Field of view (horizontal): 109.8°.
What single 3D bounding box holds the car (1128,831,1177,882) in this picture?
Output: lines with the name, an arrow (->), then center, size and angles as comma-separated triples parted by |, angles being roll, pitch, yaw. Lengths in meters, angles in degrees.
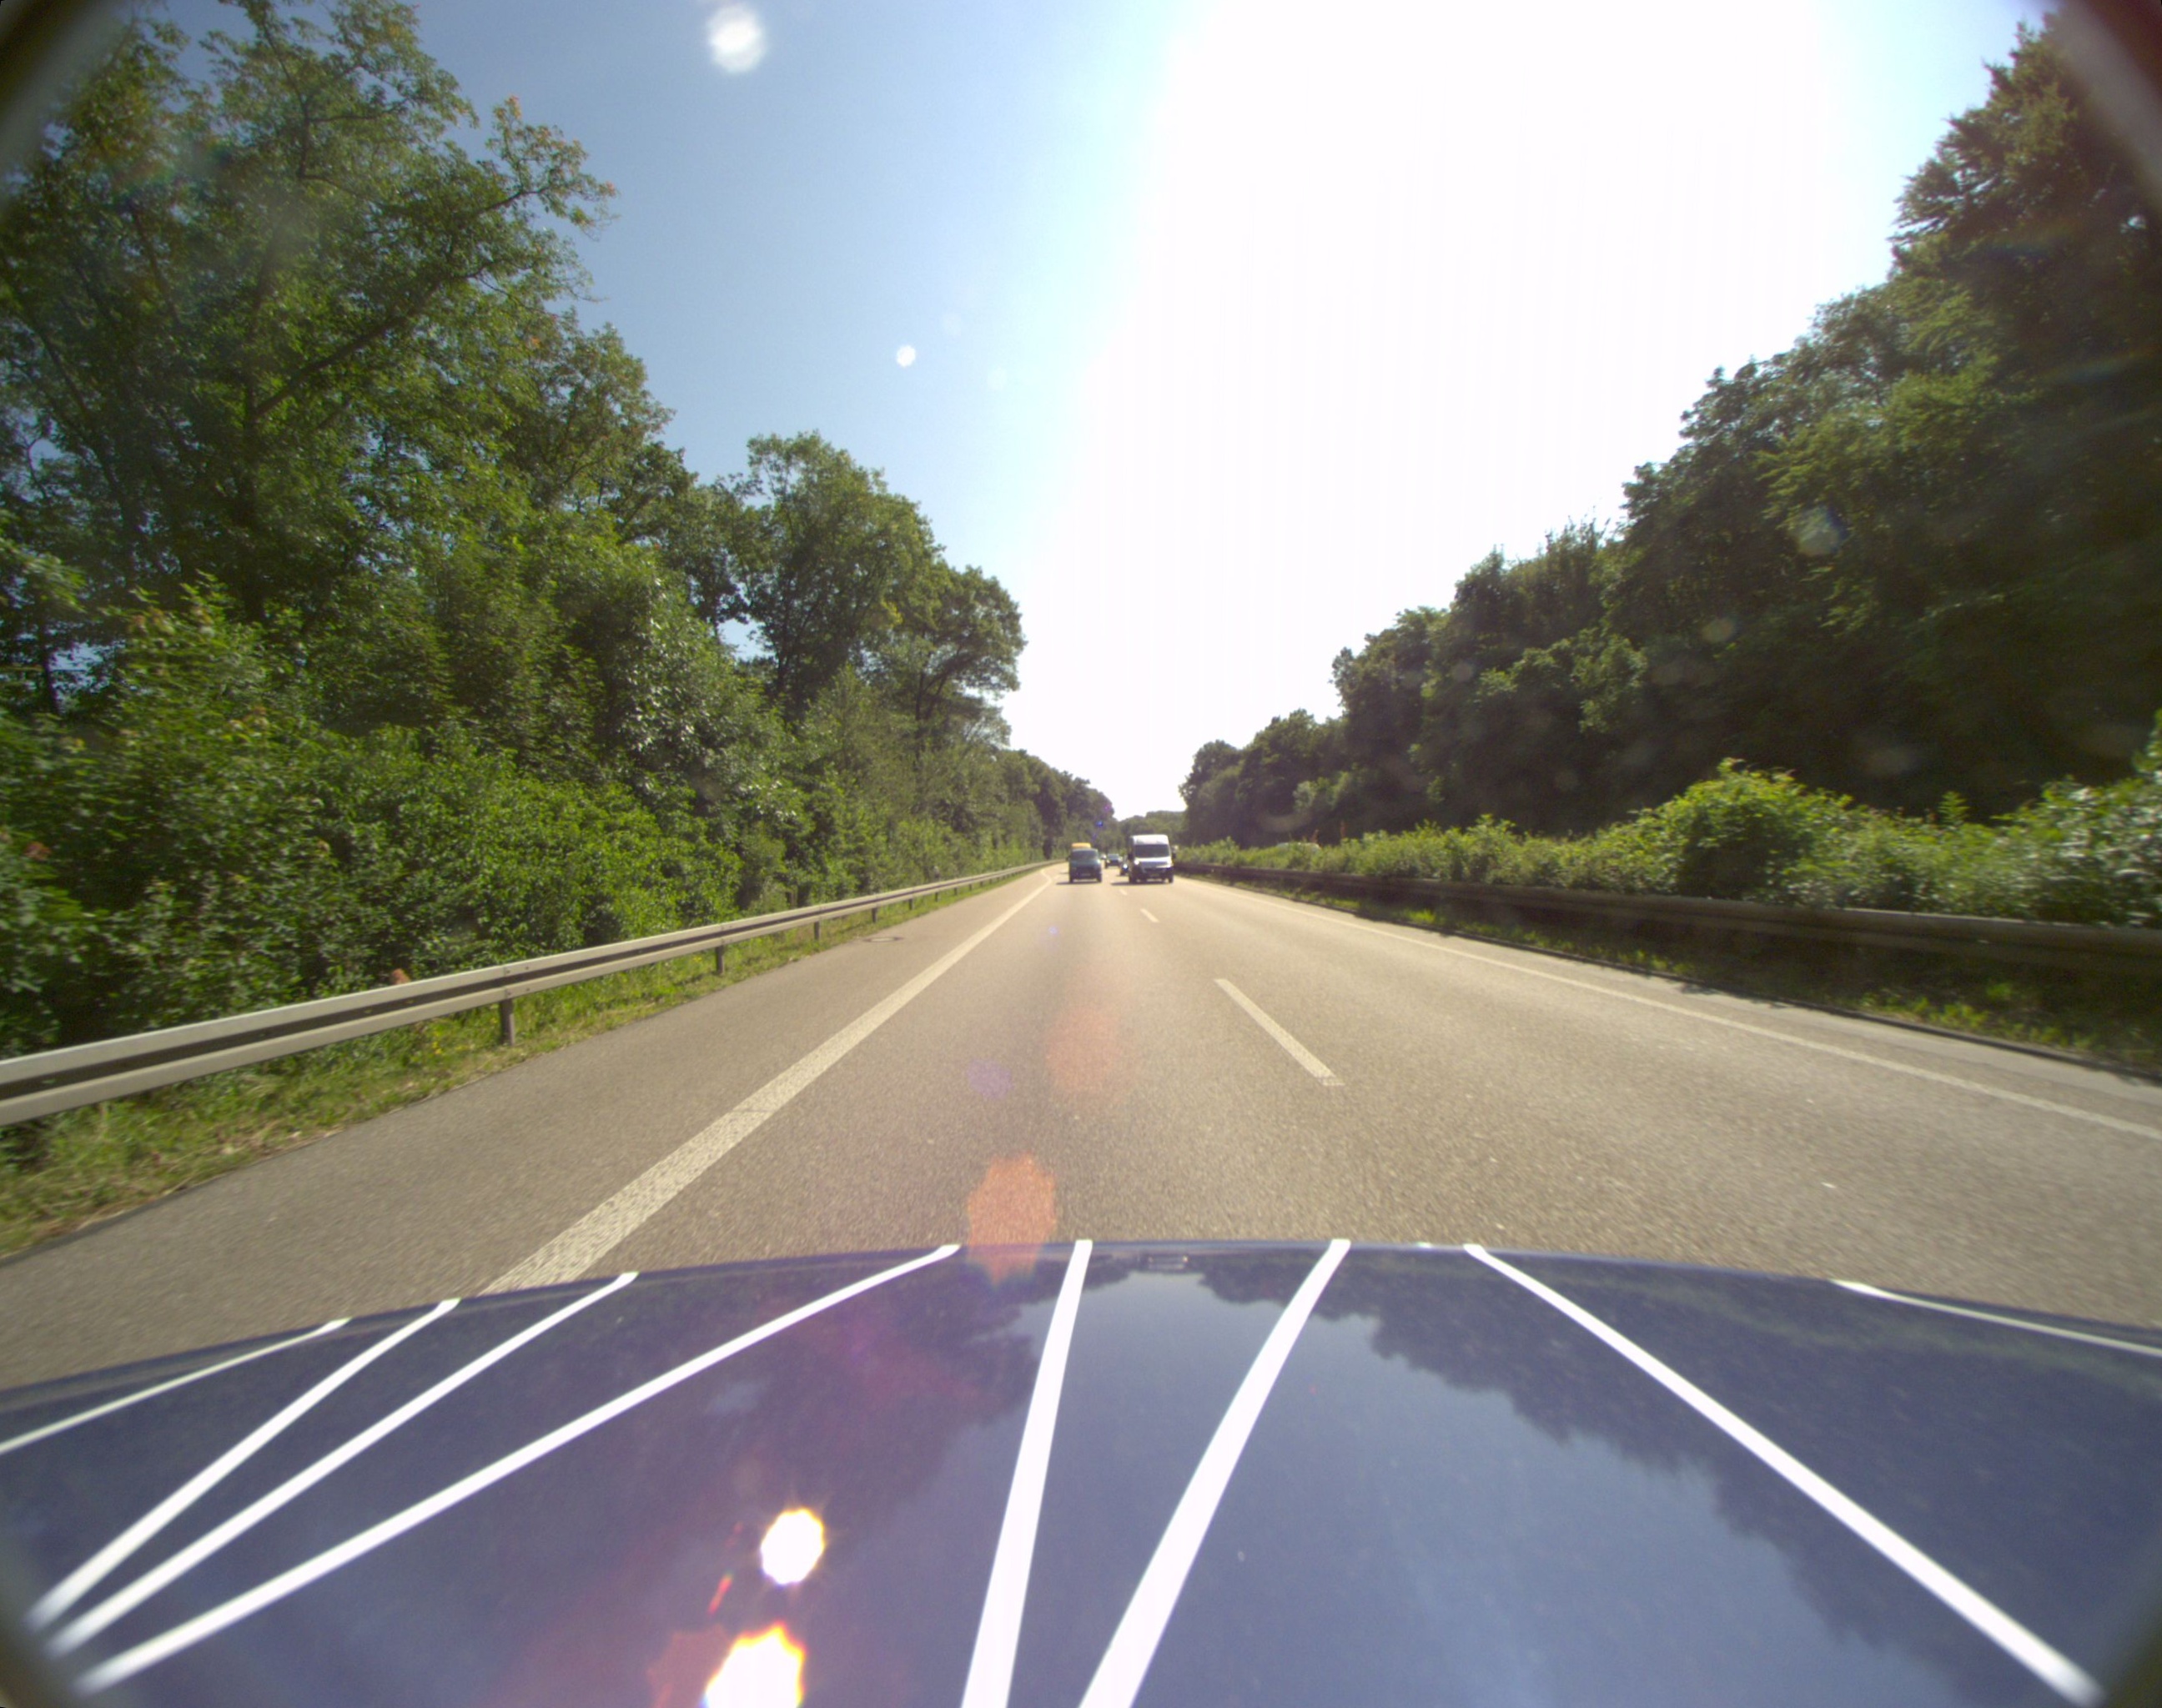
car -> 3.636, 0.094, 39.358 | 2.046, 2.430, 4.637 | -2, 1, 0

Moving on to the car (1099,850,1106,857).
car -> 6.381, -0.234, 228.390 | 1.998, 2.002, 4.000 | -2, 1, 3

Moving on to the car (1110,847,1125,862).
car -> 4.117, 0.043, 85.457 | 1.517, 1.624, 3.611 | -2, 1, 1

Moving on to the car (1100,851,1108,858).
car -> 6.200, 0.127, 204.116 | 1.998, 2.002, 4.000 | -2, 1, 4

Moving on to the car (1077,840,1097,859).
car -> 0.577, -0.389, 68.953 | 1.737, 1.624, 3.899 | -2, 1, 1

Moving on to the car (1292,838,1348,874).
car -> 12.328, 0.082, 39.462 | 1.611, 1.696, 4.282 | -2, 1, 1

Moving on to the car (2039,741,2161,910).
car -> 11.648, -0.308, 6.868 | 1.611, 1.696, 3.480 | -2, 1, 1

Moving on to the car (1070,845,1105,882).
car -> 0.364, 0.473, 43.010 | 1.812, 1.921, 4.581 | -2, 1, 0
